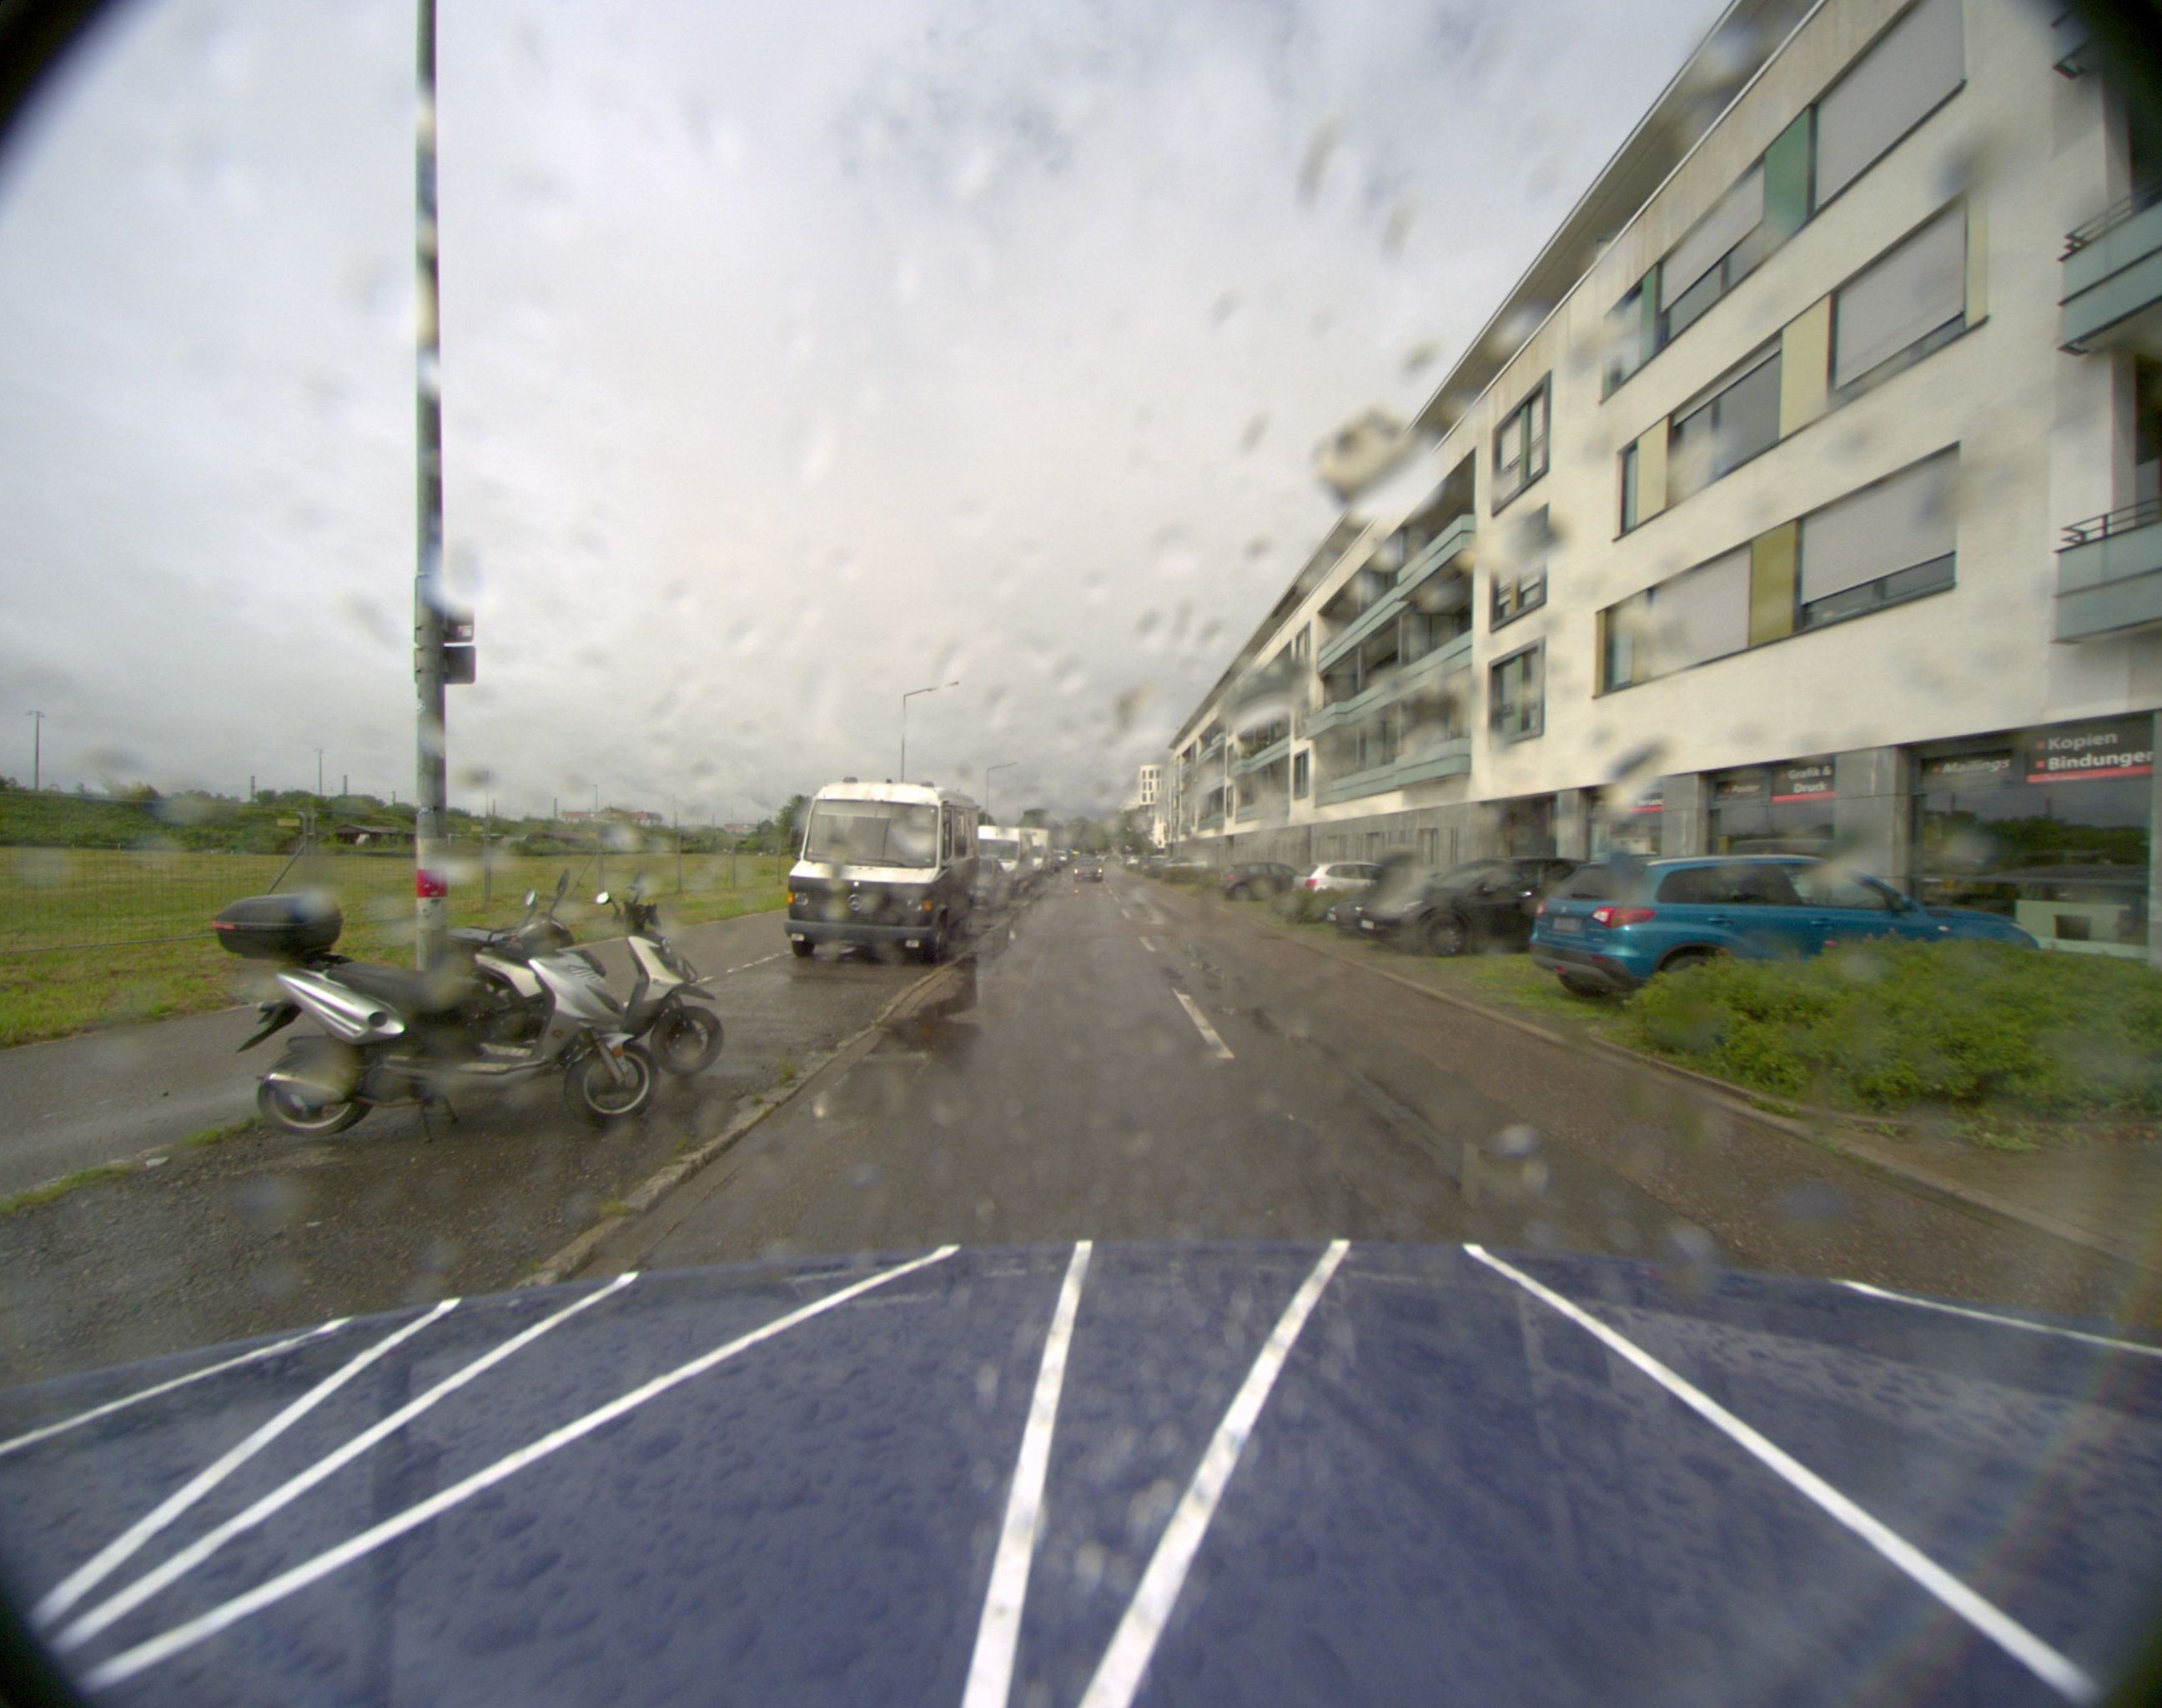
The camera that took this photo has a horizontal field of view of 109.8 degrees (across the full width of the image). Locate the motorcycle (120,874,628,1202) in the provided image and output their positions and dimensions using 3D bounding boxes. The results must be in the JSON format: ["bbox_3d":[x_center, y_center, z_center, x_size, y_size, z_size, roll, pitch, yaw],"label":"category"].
[{"bbox_3d":[-3.310,0.836,3.747,1.649,1.367,0.720,3,1,-13],"label":"motorcycle"}]

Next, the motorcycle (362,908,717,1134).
[{"bbox_3d":[-3.289,0.995,4.811,1.678,1.188,0.648,4,1,-22],"label":"motorcycle"}]

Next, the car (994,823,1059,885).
[{"bbox_3d":[-2.732,-0.013,40.091,2.476,2.939,6.887,2,0,3],"label":"car"}]

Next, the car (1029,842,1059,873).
[{"bbox_3d":[-2.736,0.274,57.649,1.998,2.228,4.563,1,0,0],"label":"car"}]

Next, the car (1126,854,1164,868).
[{"bbox_3d":[6.753,0.720,80.262,3.798,1.363,1.744,-2,1,-1],"label":"car"}]

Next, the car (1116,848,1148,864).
[{"bbox_3d":[6.538,0.224,98.028,3.974,1.937,1.953,-2,1,-1],"label":"car"}]

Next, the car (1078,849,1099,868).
[{"bbox_3d":[0.733,0.413,73.675,2.010,1.695,4.329,1,1,1],"label":"car"}]

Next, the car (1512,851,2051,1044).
[{"bbox_3d":[6.848,0.859,7.785,3.819,1.624,1.755,-2,1,2],"label":"car"}]

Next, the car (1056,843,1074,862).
[{"bbox_3d":[-1.936,-0.168,91.581,1.998,2.228,4.563,1,0,0],"label":"car"}]

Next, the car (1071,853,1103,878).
[{"bbox_3d":[0.419,0.742,49.098,1.874,1.510,4.358,-2,0,1],"label":"car"}]

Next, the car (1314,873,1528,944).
[{"bbox_3d":[6.769,1.067,15.373,3.614,1.176,1.539,-2,1,-1],"label":"car"}]

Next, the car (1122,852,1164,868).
[{"bbox_3d":[5.909,0.586,72.332,3.798,1.363,1.744,-2,1,-1],"label":"car"}]

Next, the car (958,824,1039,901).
[{"bbox_3d":[-2.977,0.283,29.077,2.073,2.514,6.658,2,0,2],"label":"car"}]

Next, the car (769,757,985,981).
[{"bbox_3d":[-3.057,0.174,12.771,2.150,2.867,5.274,3,1,-1],"label":"car"}]

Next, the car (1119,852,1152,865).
[{"bbox_3d":[6.665,0.574,92.735,3.798,1.363,1.744,-2,1,-1],"label":"car"}]

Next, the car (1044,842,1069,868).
[{"bbox_3d":[-2.205,0.097,69.528,1.998,2.228,4.563,1,0,0],"label":"car"}]

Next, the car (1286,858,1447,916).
[{"bbox_3d":[7.633,0.859,20.519,3.667,1.369,1.686,-2,0,-3],"label":"car"}]

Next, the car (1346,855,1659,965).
[{"bbox_3d":[6.872,0.875,12.707,4.183,1.540,1.859,-2,1,-1],"label":"car"}]

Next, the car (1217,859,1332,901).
[{"bbox_3d":[6.959,0.920,27.524,3.740,1.365,1.644,-1,1,0],"label":"car"}]

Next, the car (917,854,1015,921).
[{"bbox_3d":[-2.919,0.801,20.257,1.734,1.485,4.441,2,0,2],"label":"car"}]

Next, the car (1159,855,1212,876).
[{"bbox_3d":[7.909,0.850,57.699,3.798,1.363,1.744,-2,1,-1],"label":"car"}]

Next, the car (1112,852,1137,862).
[{"bbox_3d":[6.706,0.494,117.502,3.798,1.363,1.744,-2,1,-1],"label":"car"}]

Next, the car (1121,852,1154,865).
[{"bbox_3d":[6.682,0.512,90.261,3.798,1.363,1.744,-2,1,-1],"label":"car"}]
